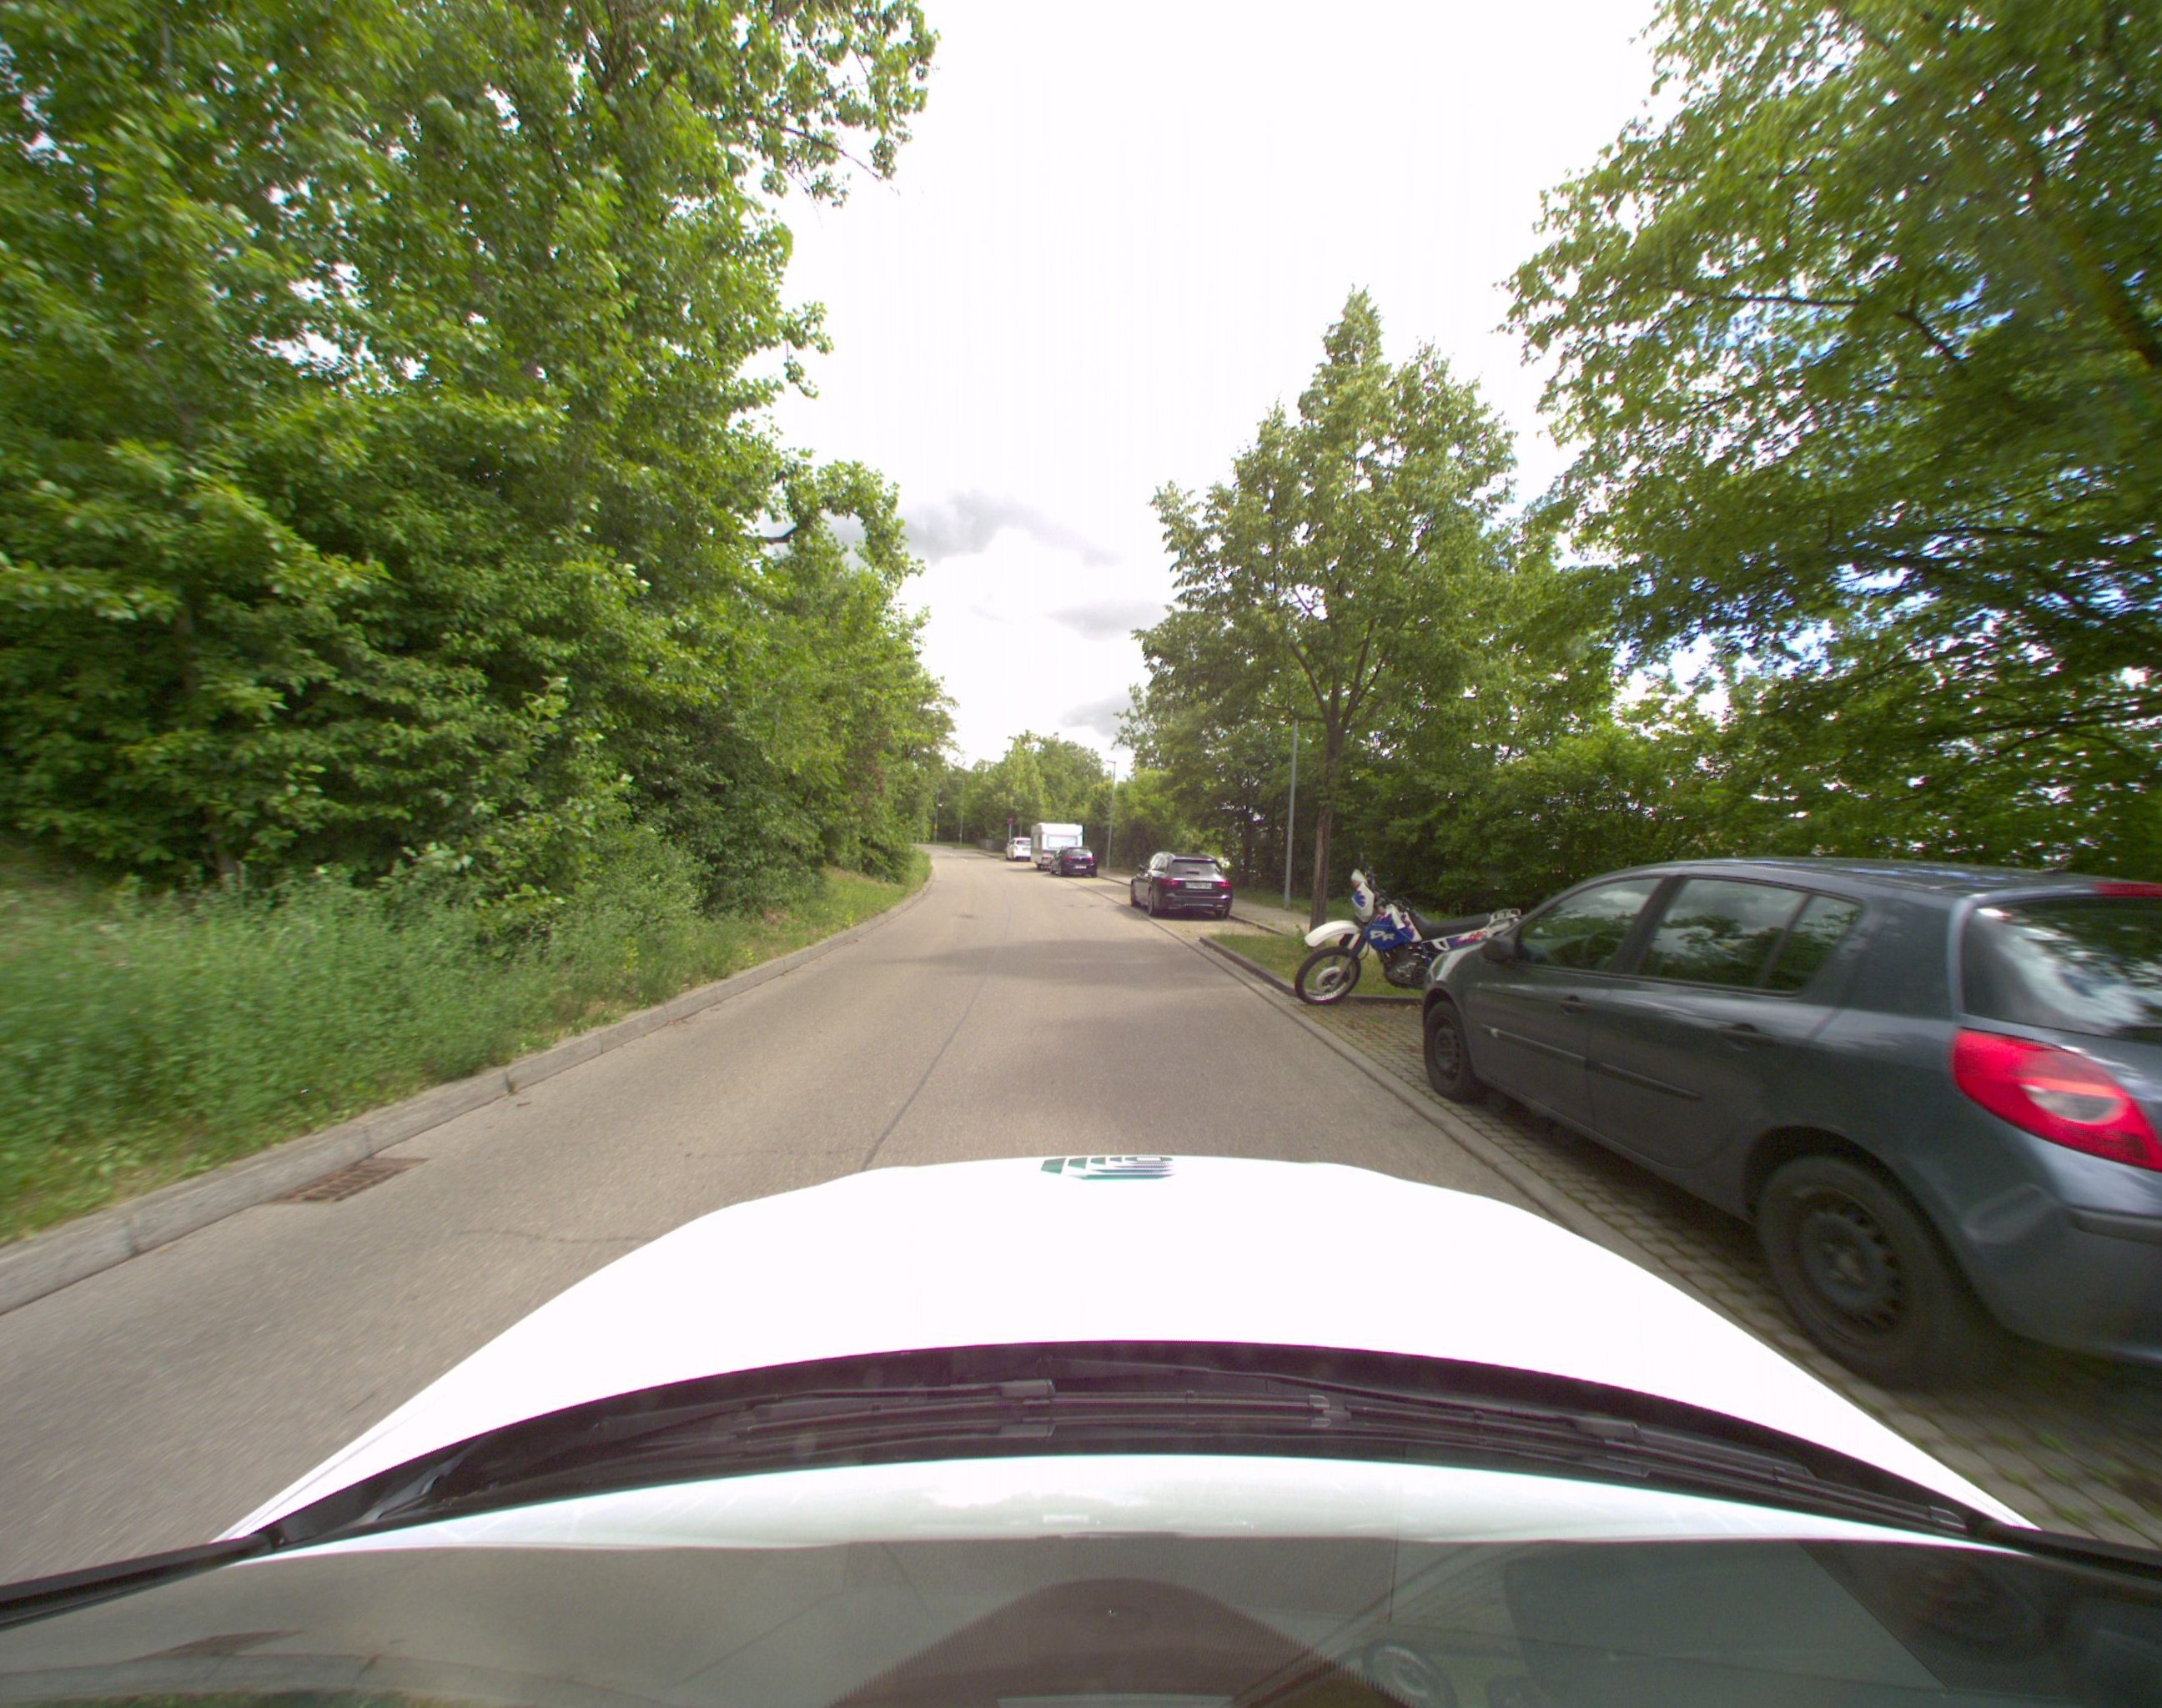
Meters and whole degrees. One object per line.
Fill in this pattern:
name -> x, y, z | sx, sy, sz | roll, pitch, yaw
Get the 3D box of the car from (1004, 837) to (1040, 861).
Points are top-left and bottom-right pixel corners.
car -> -4.150, -0.376, 57.034 | 1.807, 1.599, 4.352 | 1, 2, -13

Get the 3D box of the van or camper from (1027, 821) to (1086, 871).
van or camper -> -1.398, -0.440, 44.539 | 2.356, 2.553, 5.054 | 1, 1, -12

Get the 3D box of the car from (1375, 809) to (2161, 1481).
car -> 2.997, 0.697, 3.907 | 1.763, 1.517, 4.108 | 1, -1, 1

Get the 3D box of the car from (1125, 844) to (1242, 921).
car -> 2.305, 0.578, 19.552 | 1.889, 1.530, 4.540 | 2, 1, -4

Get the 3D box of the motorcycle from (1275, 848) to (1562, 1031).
motorcycle -> 3.039, 0.689, 7.481 | 2.284, 1.476, 0.981 | 0, 0, 24

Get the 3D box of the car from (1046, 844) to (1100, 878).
car -> -0.448, 0.281, 38.925 | 1.683, 1.450, 4.463 | 2, 1, -12
